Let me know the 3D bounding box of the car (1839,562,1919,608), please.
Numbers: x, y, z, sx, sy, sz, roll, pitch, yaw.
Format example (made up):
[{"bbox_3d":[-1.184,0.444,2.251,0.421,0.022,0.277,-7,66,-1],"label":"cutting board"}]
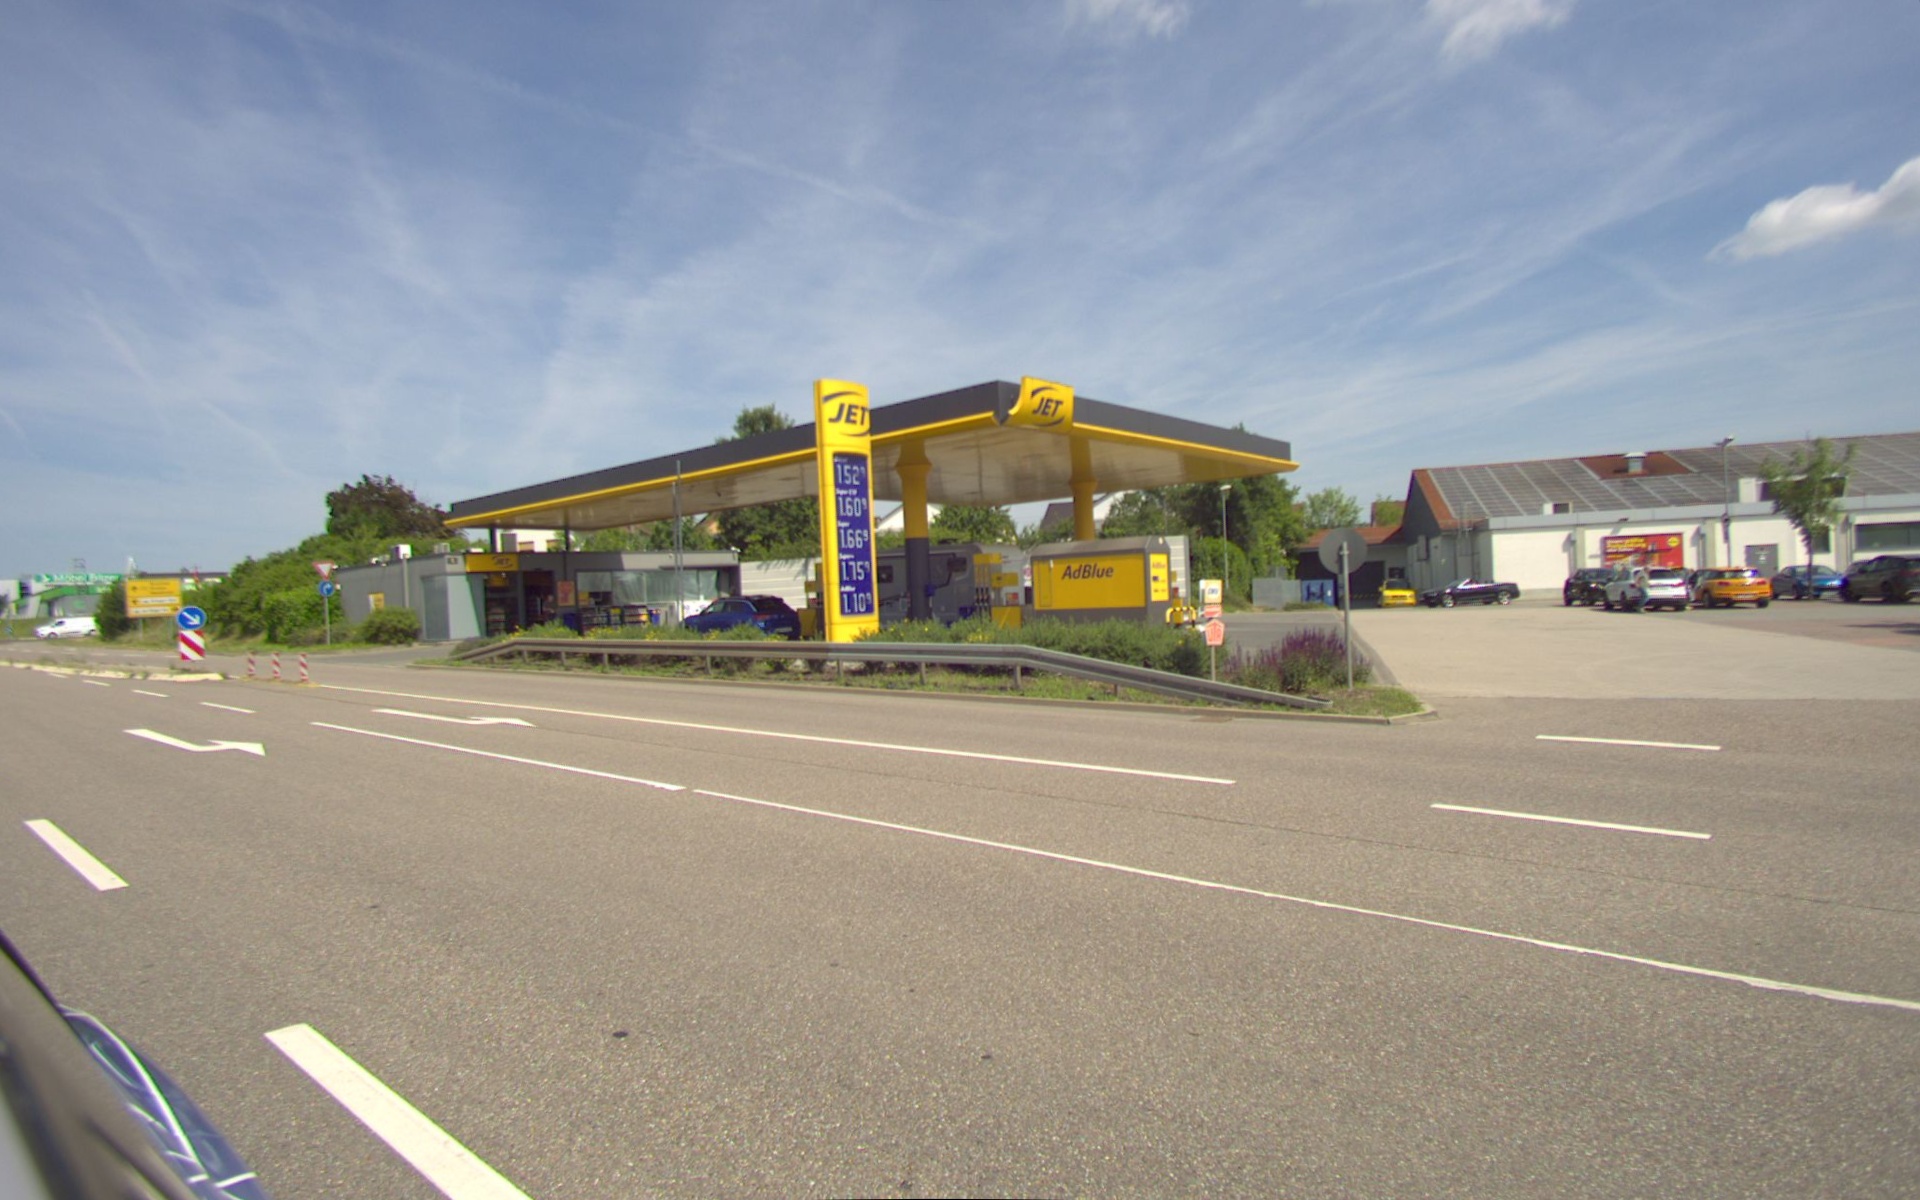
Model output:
[{"bbox_3d":[31.666,-0.543,33.826,1.868,1.453,3.981,-2,1,15],"label":"car"}]

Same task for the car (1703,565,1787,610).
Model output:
[{"bbox_3d":[27.728,-0.456,35.882,1.879,1.453,3.958,-2,1,31],"label":"car"}]

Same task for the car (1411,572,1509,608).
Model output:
[{"bbox_3d":[24.399,-0.460,49.456,3.826,1.625,1.751,-2,-1,4],"label":"car"}]

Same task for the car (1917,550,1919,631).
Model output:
[{"bbox_3d":[21.681,-0.203,20.342,1.865,1.825,4.144,-2,0,18],"label":"car"}]

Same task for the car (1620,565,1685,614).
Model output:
[{"bbox_3d":[24.639,-0.404,36.098,1.765,1.551,3.955,-3,0,33],"label":"car"}]

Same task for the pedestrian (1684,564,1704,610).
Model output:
[{"bbox_3d":[25.532,-0.452,35.208,0.516,1.564,0.500,-1,0,34],"label":"pedestrian"}]

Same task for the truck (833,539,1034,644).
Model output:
[{"bbox_3d":[-0.935,-0.218,31.123,6.279,2.944,2.222,-1,0,40],"label":"truck"}]

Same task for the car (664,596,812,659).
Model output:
[{"bbox_3d":[-6.555,0.821,29.683,4.258,1.719,1.975,-2,-1,38],"label":"car"}]

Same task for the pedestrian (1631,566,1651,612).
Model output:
[{"bbox_3d":[23.143,-0.370,34.391,0.505,1.564,0.511,-1,0,38],"label":"pedestrian"}]

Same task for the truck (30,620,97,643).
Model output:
[{"bbox_3d":[-91.214,3.197,102.998,1.996,2.024,4.717,-2,0,36],"label":"truck"}]

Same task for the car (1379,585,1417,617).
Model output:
[{"bbox_3d":[26.302,0.049,60.883,1.987,1.823,4.355,-2,0,22],"label":"car"}]

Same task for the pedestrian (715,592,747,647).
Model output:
[{"bbox_3d":[-7.859,0.668,34.778,0.639,1.852,0.788,-2,0,42],"label":"pedestrian"}]

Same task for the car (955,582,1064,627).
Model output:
[{"bbox_3d":[1.921,0.174,39.550,3.862,1.625,1.735,-2,-1,31],"label":"car"}]

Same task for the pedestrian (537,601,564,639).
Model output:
[{"bbox_3d":[-15.992,0.771,39.541,0.900,1.438,0.495,0,0,-33],"label":"pedestrian"}]

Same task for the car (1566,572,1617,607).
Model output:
[{"bbox_3d":[26.379,-0.464,42.233,1.713,1.320,3.955,-2,1,33],"label":"car"}]
